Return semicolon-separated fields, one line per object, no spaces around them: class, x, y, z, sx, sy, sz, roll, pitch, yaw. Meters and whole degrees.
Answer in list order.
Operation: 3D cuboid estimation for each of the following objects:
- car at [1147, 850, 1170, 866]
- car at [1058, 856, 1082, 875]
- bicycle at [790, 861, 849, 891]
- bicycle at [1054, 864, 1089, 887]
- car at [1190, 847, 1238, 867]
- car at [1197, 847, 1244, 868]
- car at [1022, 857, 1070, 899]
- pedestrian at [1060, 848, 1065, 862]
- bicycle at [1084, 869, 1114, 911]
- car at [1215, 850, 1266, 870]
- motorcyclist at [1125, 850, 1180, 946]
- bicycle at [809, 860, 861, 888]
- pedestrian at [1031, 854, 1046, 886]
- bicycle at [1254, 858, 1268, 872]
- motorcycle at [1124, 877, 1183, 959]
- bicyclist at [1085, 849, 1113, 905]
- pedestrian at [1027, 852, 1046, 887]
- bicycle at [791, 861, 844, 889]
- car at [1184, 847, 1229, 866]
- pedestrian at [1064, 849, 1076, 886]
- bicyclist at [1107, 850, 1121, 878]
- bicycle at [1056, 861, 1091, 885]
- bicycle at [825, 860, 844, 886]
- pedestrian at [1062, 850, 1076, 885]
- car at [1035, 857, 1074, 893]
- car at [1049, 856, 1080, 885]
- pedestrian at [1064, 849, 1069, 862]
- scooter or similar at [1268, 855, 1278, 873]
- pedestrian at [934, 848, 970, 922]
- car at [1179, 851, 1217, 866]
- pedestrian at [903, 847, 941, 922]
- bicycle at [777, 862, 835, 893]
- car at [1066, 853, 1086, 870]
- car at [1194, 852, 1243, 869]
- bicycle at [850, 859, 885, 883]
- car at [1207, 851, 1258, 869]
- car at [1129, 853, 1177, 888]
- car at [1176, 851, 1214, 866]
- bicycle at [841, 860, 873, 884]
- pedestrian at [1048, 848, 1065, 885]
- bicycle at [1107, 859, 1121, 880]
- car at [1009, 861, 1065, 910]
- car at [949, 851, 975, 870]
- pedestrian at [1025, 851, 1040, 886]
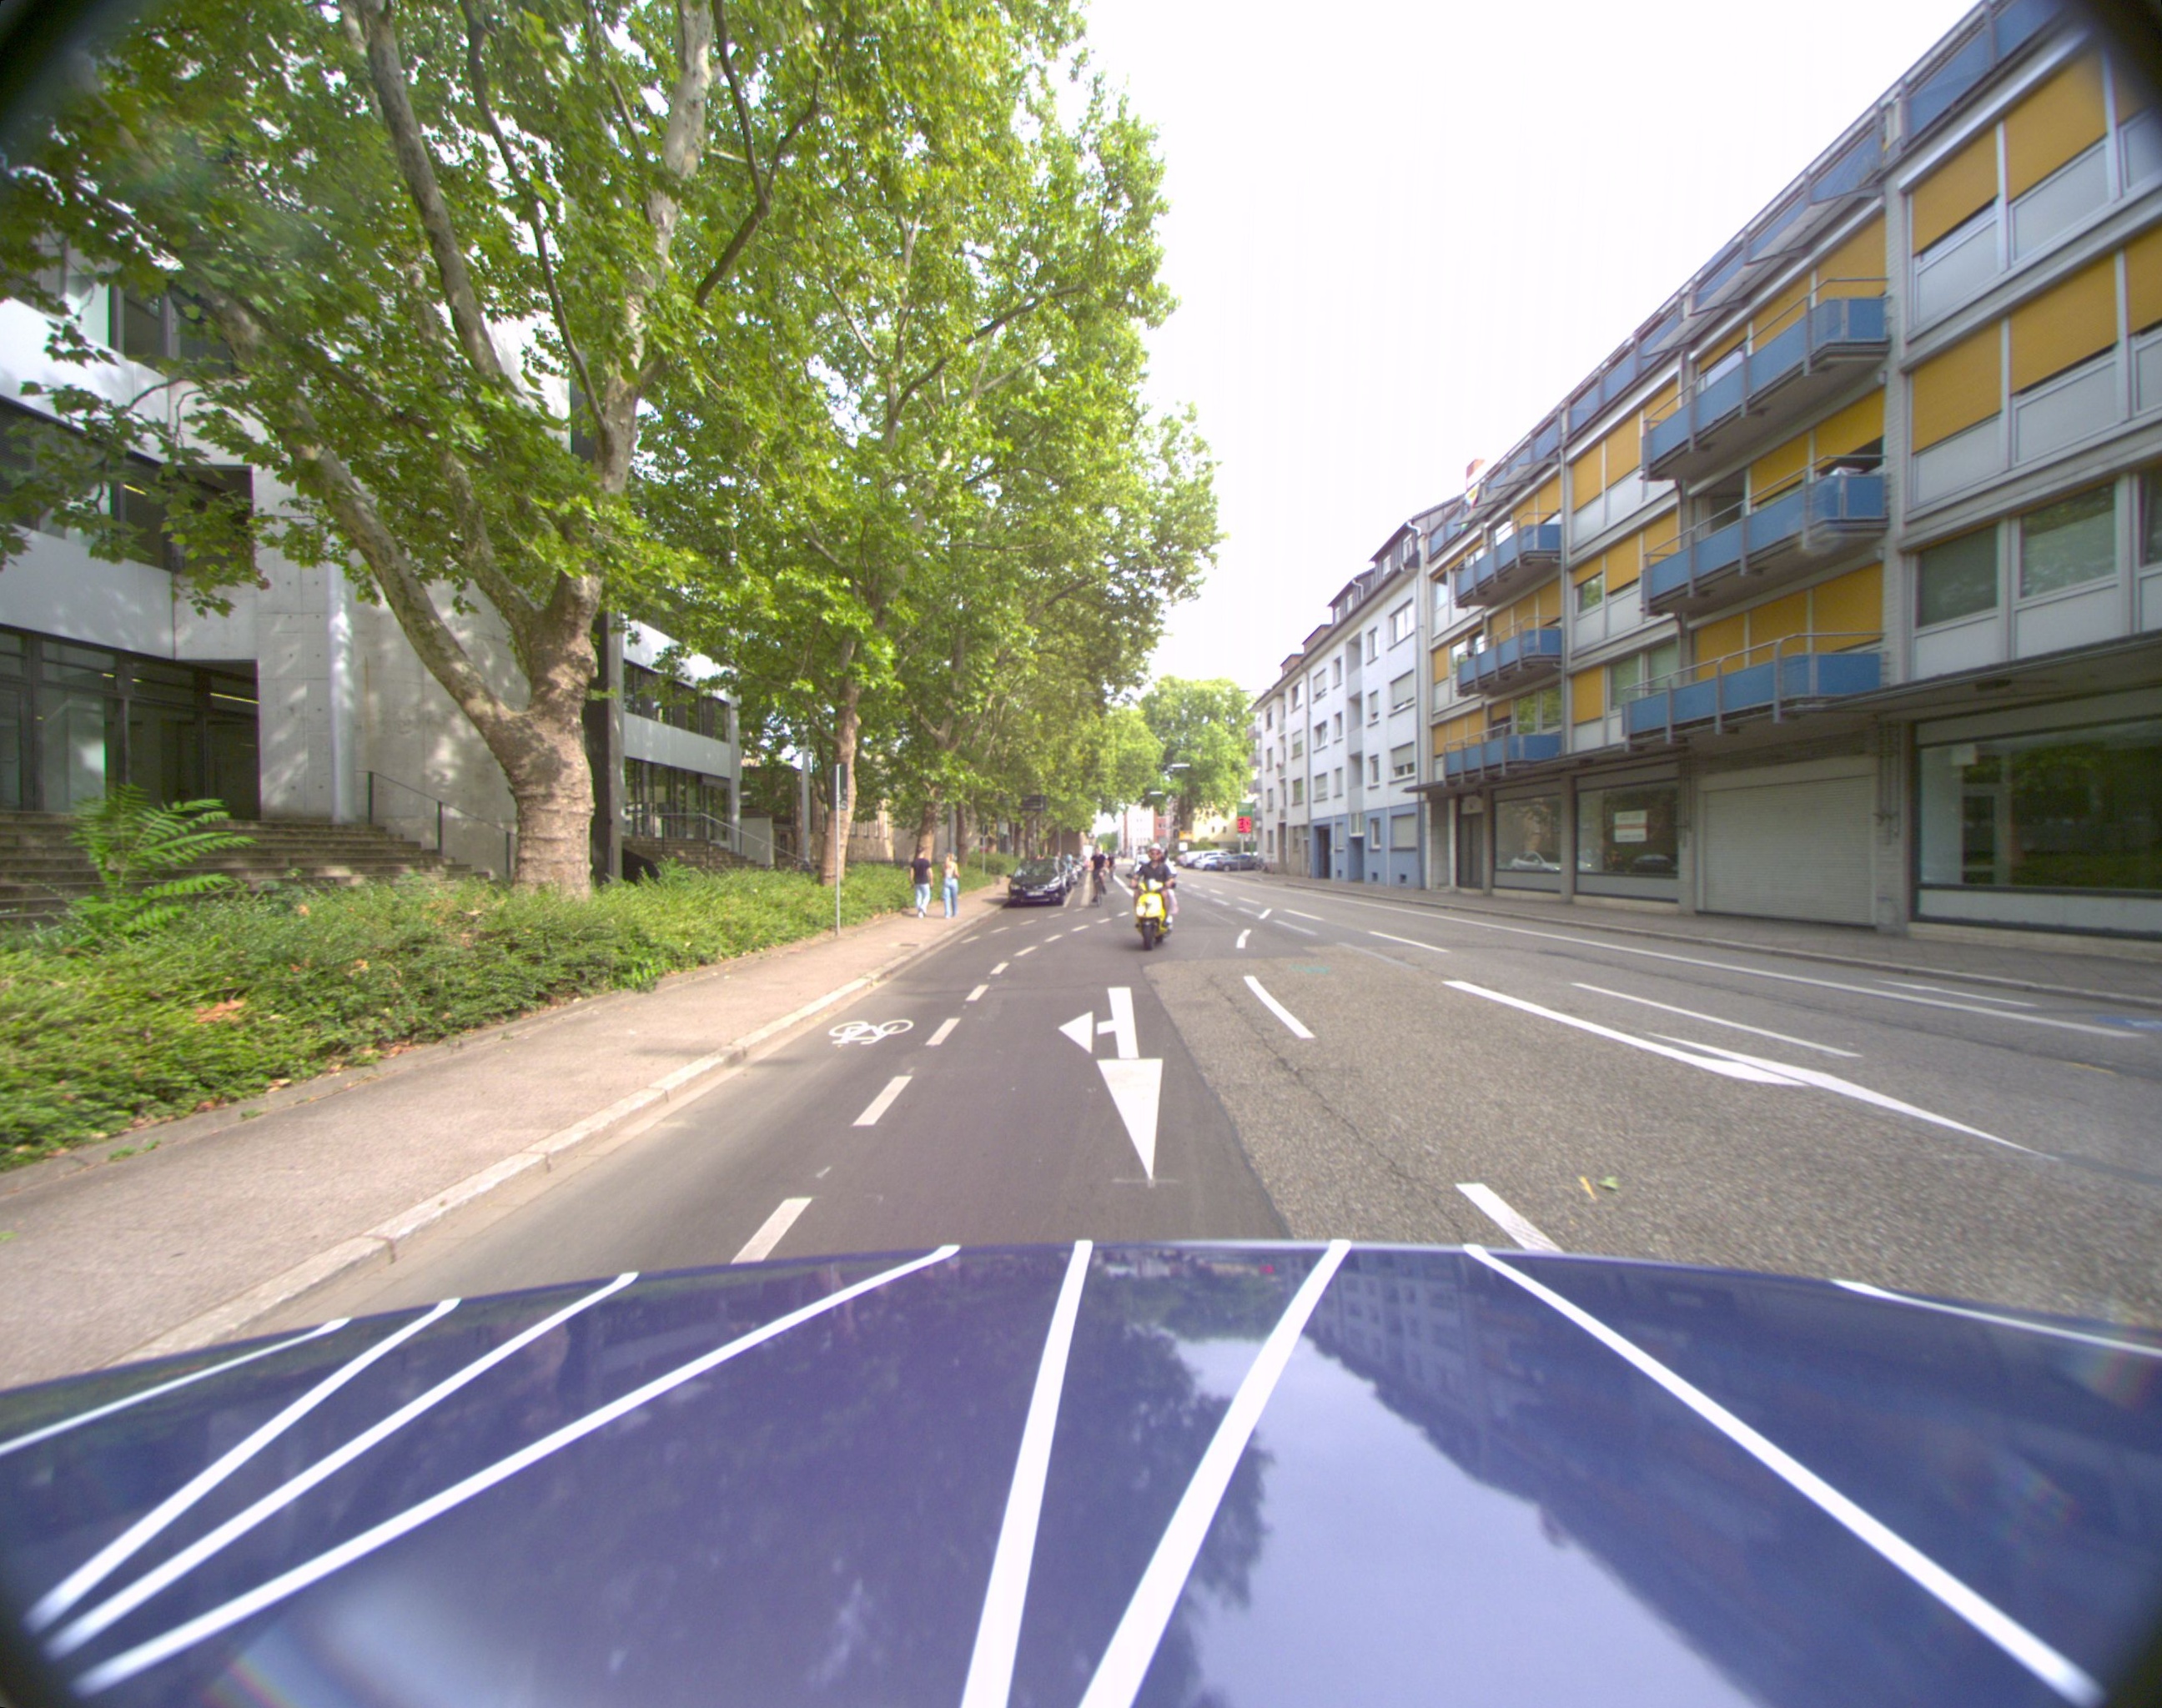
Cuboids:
car;7.485;0.386;73.624;1.762;1.419;4.098;1;0;0
car;-0.906;0.902;60.871;1.647;1.438;3.881;-2;0;-4
bicycle;-10.211;0.851;29.723;2.084;1.111;0.673;0;1;1
bicycle;-0.515;1.111;39.564;1.740;1.099;0.552;-2;1;-10
car;14.318;0.315;82.203;4.778;1.923;1.994;-3;0;2
car;13.801;0.345;75.439;4.221;1.837;1.924;-3;0;1
car;-1.357;0.923;30.256;1.539;1.534;2.599;-2;0;4
pedestrian;-2.621;0.143;106.368;0.643;1.823;0.645;3;1;0
bicycle;0.572;1.092;23.456;0.763;1.162;1.950;-2;0;5
car;14.248;0.535;68.046;4.161;1.504;1.837;-3;0;1
motorcyclist;1.240;0.746;13.134;0.904;1.608;0.691;-1;1;5
bicycle;-10.287;0.832;31.790;1.919;1.111;0.673;0;1;1
pedestrian;-2.273;0.862;40.623;0.723;1.648;0.655;-2;1;1
bicycle;12.924;0.775;54.498;0.598;0.945;1.663;-2;0;1
motorcycle;1.238;1.042;13.134;0.904;1.190;2.631;-1;0;5
bicyclist;0.571;0.691;23.543;0.764;1.699;0.918;-2;1;5
pedestrian;-2.309;0.799;39.845;0.873;1.806;0.780;-2;1;1
bicycle;-10.653;0.852;30.772;1.919;1.111;0.673;0;1;1
car;13.961;0.288;84.612;4.627;1.848;1.950;-3;0;2
pedestrian;-0.569;0.695;39.995;0.476;1.923;0.744;-2;1;-10
bicyclist;1.937;0.578;44.841;0.748;1.590;0.819;-2;1;1
bicycle;-0.418;1.038;41.023;1.796;1.210;0.552;-2;1;-16
bicycle;-11.107;0.836;34.249;0.492;1.111;1.437;0;0;-4
pedestrian;-0.649;0.729;41.269;0.522;1.834;0.744;-2;1;-14
car;-1.162;0.930;35.067;1.532;1.493;3.660;-2;0;1
car;-0.975;0.914;44.709;1.685;1.507;4.543;-3;0;-1
pedestrian;-2.036;0.199;106.369;0.502;1.775;0.527;3;1;0
scooter or similar;13.061;0.663;51.789;0.350;1.214;1.202;-2;0;1
pedestrian;-3.208;0.747;18.948;0.712;1.773;1.033;1;1;0
car;14.449;0.543;93.731;4.372;1.540;1.733;-3;0;2
pedestrian;-3.951;0.738;18.932;0.717;1.789;1.033;1;1;0
bicycle;-10.259;0.865;28.387;1.919;1.111;0.673;0;1;1
car;-0.500;0.778;79.329;1.926;1.612;4.480;-2;0;-1
car;13.118;0.606;72.629;4.281;1.442;1.874;-3;0;1
bicycle;-10.050;0.820;35.745;1.544;1.111;0.468;0;1;-6
car;14.033;0.568;70.449;4.311;1.442;1.910;-3;0;1
car;3.390;0.741;36.512;2.000;1.556;4.551;-1;0;2
car;14.410;0.527;96.047;4.529;1.596;1.754;-3;0;2
bicycle;-10.221;0.823;34.694;1.383;1.111;0.510;0;1;-14
pedestrian;-1.340;0.671;41.764;0.795;1.986;0.750;-2;1;1
bicycle;1.935;0.916;44.837;0.763;1.162;1.950;-2;0;2
car;-1.446;1.003;26.016;1.702;1.417;4.421;-2;0;-2
car;-10.253;0.582;65.724;1.673;1.441;4.299;-1;-2;-1
pedestrian;-2.657;0.786;41.711;0.723;1.844;0.703;-2;1;1
